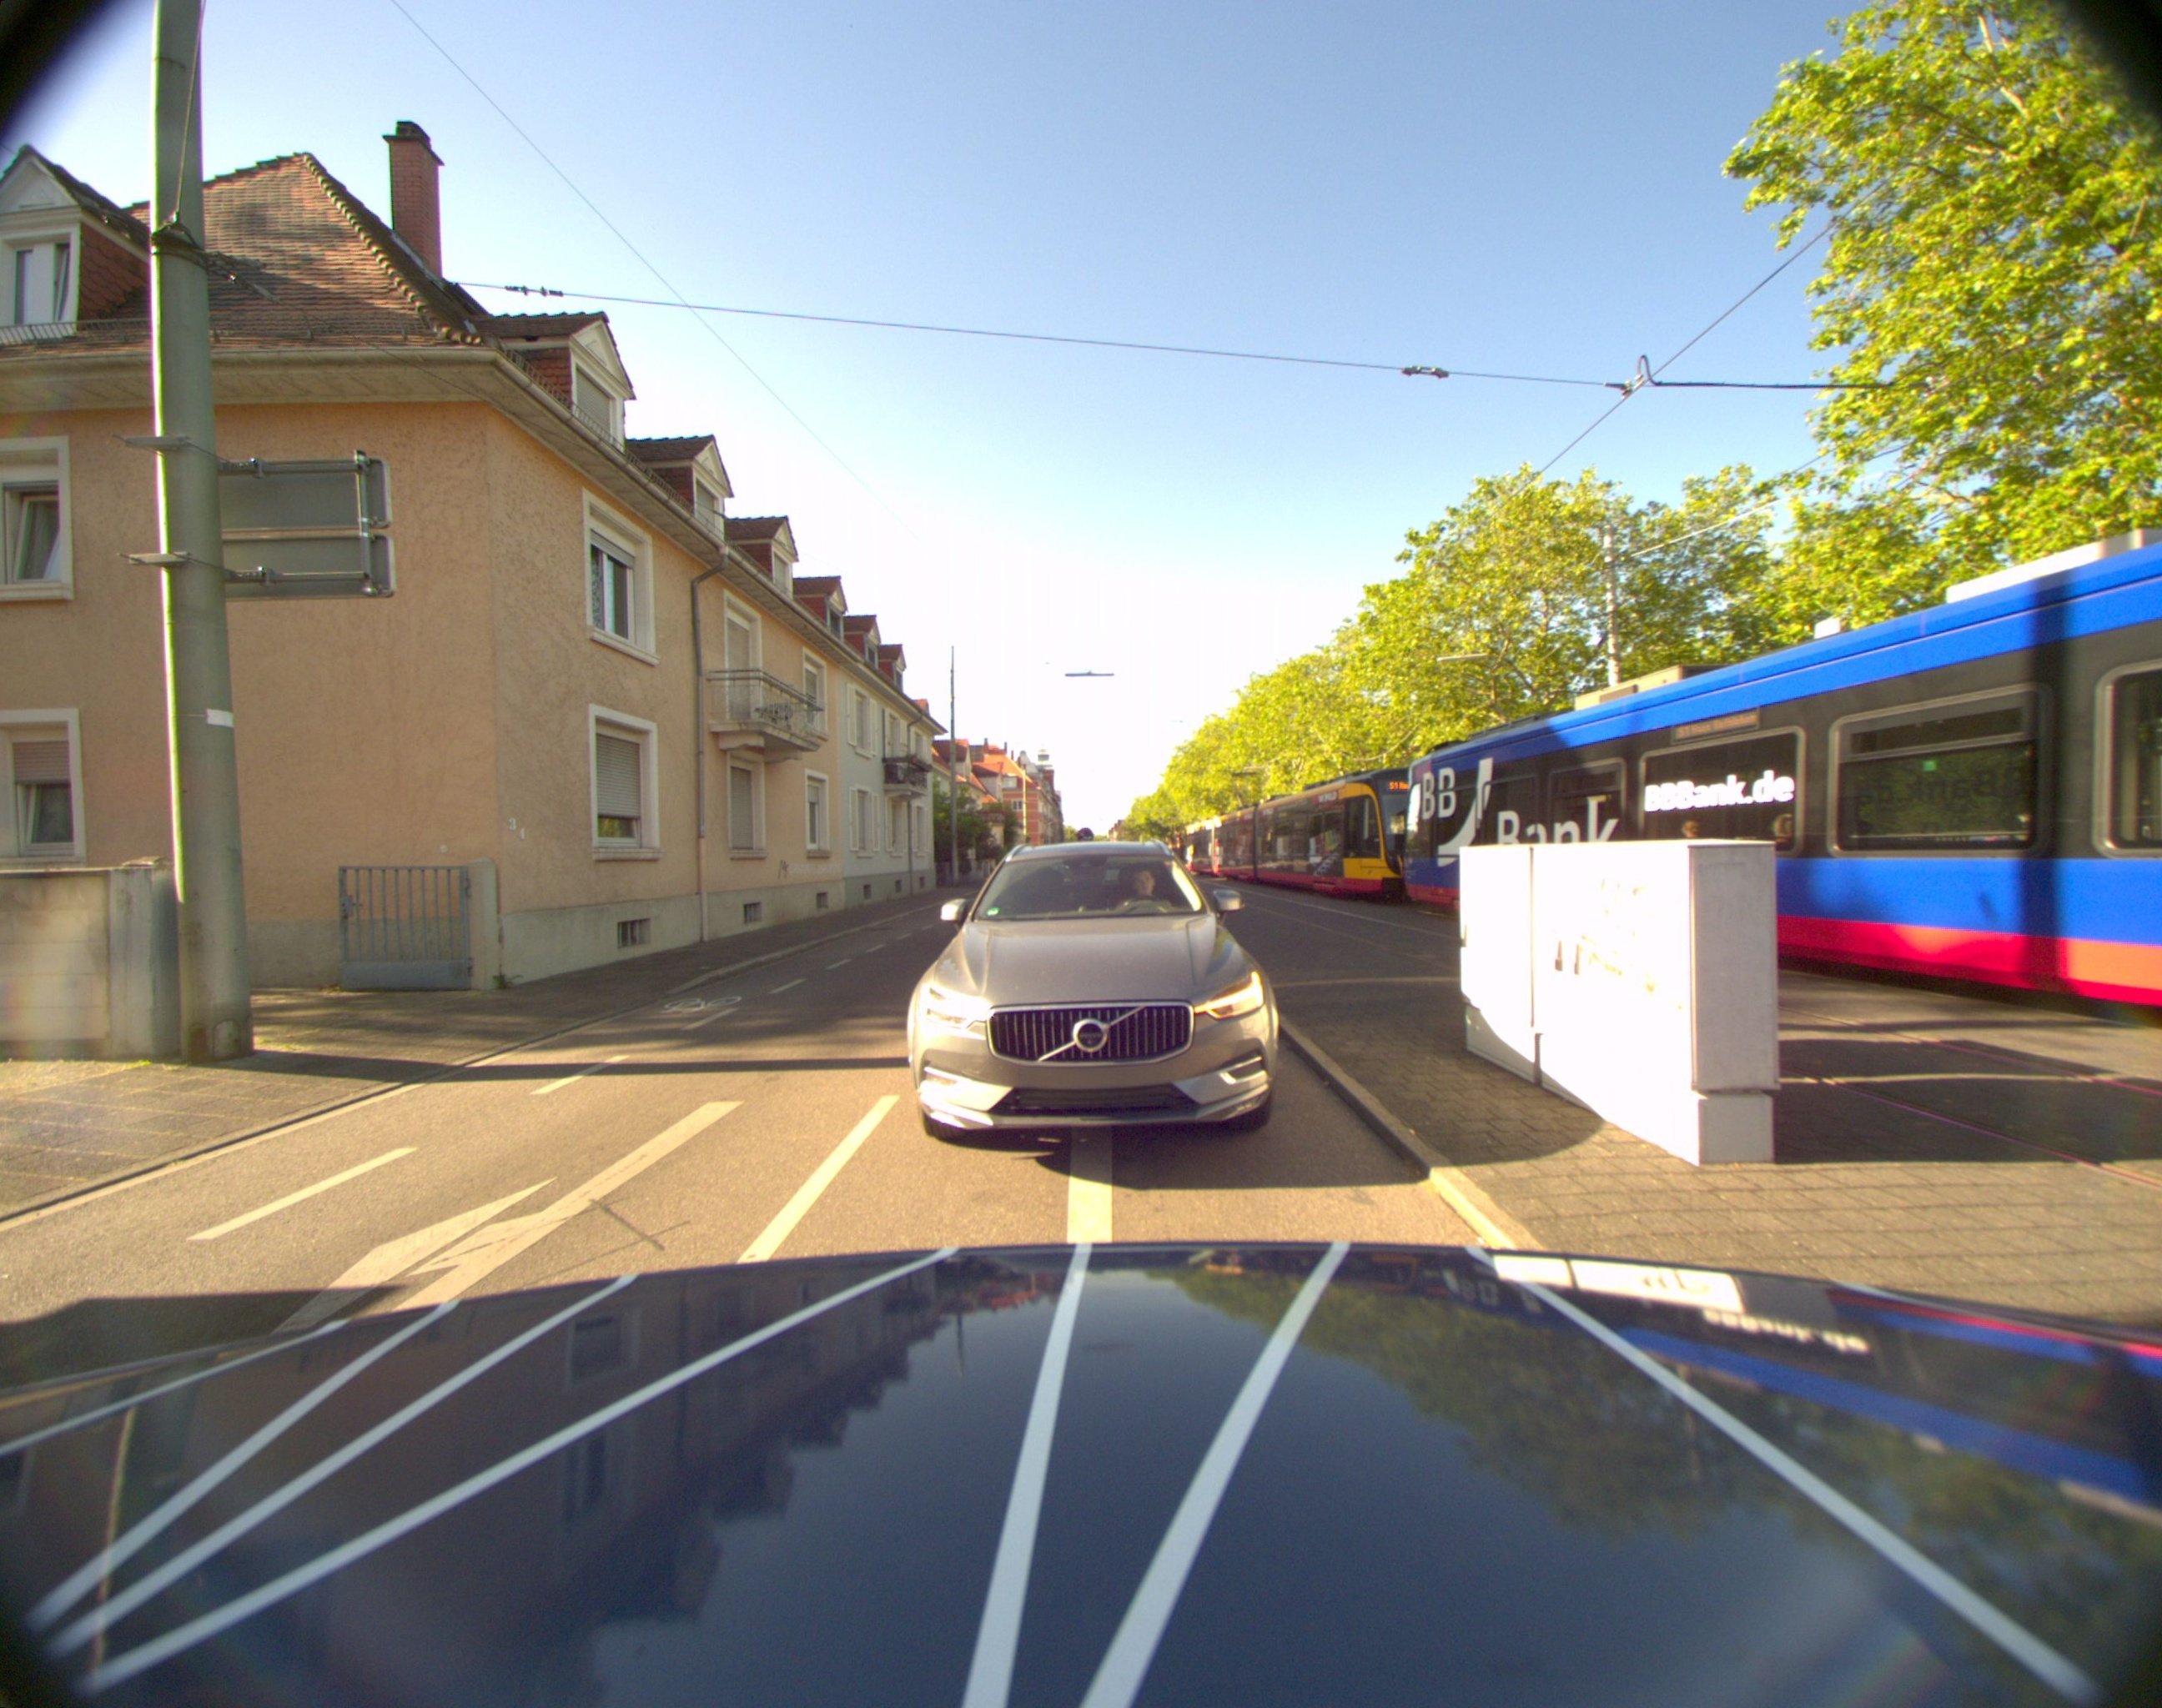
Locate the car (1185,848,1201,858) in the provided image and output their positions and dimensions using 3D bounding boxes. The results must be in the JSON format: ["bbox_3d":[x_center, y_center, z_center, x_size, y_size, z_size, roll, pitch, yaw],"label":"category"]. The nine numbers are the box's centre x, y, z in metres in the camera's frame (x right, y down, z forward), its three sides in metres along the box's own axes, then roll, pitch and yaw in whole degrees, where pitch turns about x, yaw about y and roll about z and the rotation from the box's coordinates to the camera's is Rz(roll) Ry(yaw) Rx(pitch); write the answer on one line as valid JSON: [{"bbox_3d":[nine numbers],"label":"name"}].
[{"bbox_3d":[18.521,-0.183,125.874,1.882,1.542,3.999,-1,0,-2],"label":"car"}]

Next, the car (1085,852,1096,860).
[{"bbox_3d":[1.744,0.366,141.127,1.882,1.477,3.999,-1,0,-1],"label":"car"}]

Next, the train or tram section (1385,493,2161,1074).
[{"bbox_3d":[8.131,-0.479,10.133,3.063,3.592,12.112,-1,0,-1],"label":"train or tram section"}]

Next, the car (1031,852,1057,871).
[{"bbox_3d":[-2.932,0.591,60.932,1.882,1.477,3.999,-1,0,-1],"label":"car"}]

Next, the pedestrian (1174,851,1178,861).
[{"bbox_3d":[16.002,0.311,127.986,0.578,1.632,0.677,-1,1,3],"label":"pedestrian"}]

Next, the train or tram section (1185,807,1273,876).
[{"bbox_3d":[8.736,-0.671,46.652,3.062,3.592,12.889,-1,0,1],"label":"train or tram section"}]

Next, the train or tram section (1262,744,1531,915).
[{"bbox_3d":[8.174,-0.543,22.276,3.062,3.592,12.114,-1,0,1],"label":"train or tram section"}]

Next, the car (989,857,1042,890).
[{"bbox_3d":[-3.134,0.919,37.176,1.881,1.477,4.001,-1,0,5],"label":"car"}]

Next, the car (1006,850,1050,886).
[{"bbox_3d":[-2.901,0.726,42.861,1.932,1.834,5.313,-1,0,2],"label":"car"}]

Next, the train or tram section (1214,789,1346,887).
[{"bbox_3d":[8.453,-0.607,34.282,3.062,3.592,11.950,-1,0,1],"label":"train or tram section"}]

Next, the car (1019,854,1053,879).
[{"bbox_3d":[-2.816,0.783,48.333,1.882,1.477,3.999,-1,0,-1],"label":"car"}]

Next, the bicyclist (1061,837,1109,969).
[{"bbox_3d":[0.055,0.641,10.226,0.600,1.709,0.662,-1,1,1],"label":"bicyclist"}]

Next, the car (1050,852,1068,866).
[{"bbox_3d":[-2.481,0.547,85.662,1.882,1.477,3.999,-1,0,-1],"label":"car"}]

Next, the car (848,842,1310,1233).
[{"bbox_3d":[0.023,0.767,5.454,1.917,1.621,4.502,-1,0,1],"label":"car"}]

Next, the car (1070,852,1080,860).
[{"bbox_3d":[-1.101,0.305,148.132,1.882,1.477,3.999,-1,0,-1],"label":"car"}]

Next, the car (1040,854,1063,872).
[{"bbox_3d":[-2.606,0.768,67.362,1.882,1.477,3.999,-1,0,-1],"label":"car"}]
